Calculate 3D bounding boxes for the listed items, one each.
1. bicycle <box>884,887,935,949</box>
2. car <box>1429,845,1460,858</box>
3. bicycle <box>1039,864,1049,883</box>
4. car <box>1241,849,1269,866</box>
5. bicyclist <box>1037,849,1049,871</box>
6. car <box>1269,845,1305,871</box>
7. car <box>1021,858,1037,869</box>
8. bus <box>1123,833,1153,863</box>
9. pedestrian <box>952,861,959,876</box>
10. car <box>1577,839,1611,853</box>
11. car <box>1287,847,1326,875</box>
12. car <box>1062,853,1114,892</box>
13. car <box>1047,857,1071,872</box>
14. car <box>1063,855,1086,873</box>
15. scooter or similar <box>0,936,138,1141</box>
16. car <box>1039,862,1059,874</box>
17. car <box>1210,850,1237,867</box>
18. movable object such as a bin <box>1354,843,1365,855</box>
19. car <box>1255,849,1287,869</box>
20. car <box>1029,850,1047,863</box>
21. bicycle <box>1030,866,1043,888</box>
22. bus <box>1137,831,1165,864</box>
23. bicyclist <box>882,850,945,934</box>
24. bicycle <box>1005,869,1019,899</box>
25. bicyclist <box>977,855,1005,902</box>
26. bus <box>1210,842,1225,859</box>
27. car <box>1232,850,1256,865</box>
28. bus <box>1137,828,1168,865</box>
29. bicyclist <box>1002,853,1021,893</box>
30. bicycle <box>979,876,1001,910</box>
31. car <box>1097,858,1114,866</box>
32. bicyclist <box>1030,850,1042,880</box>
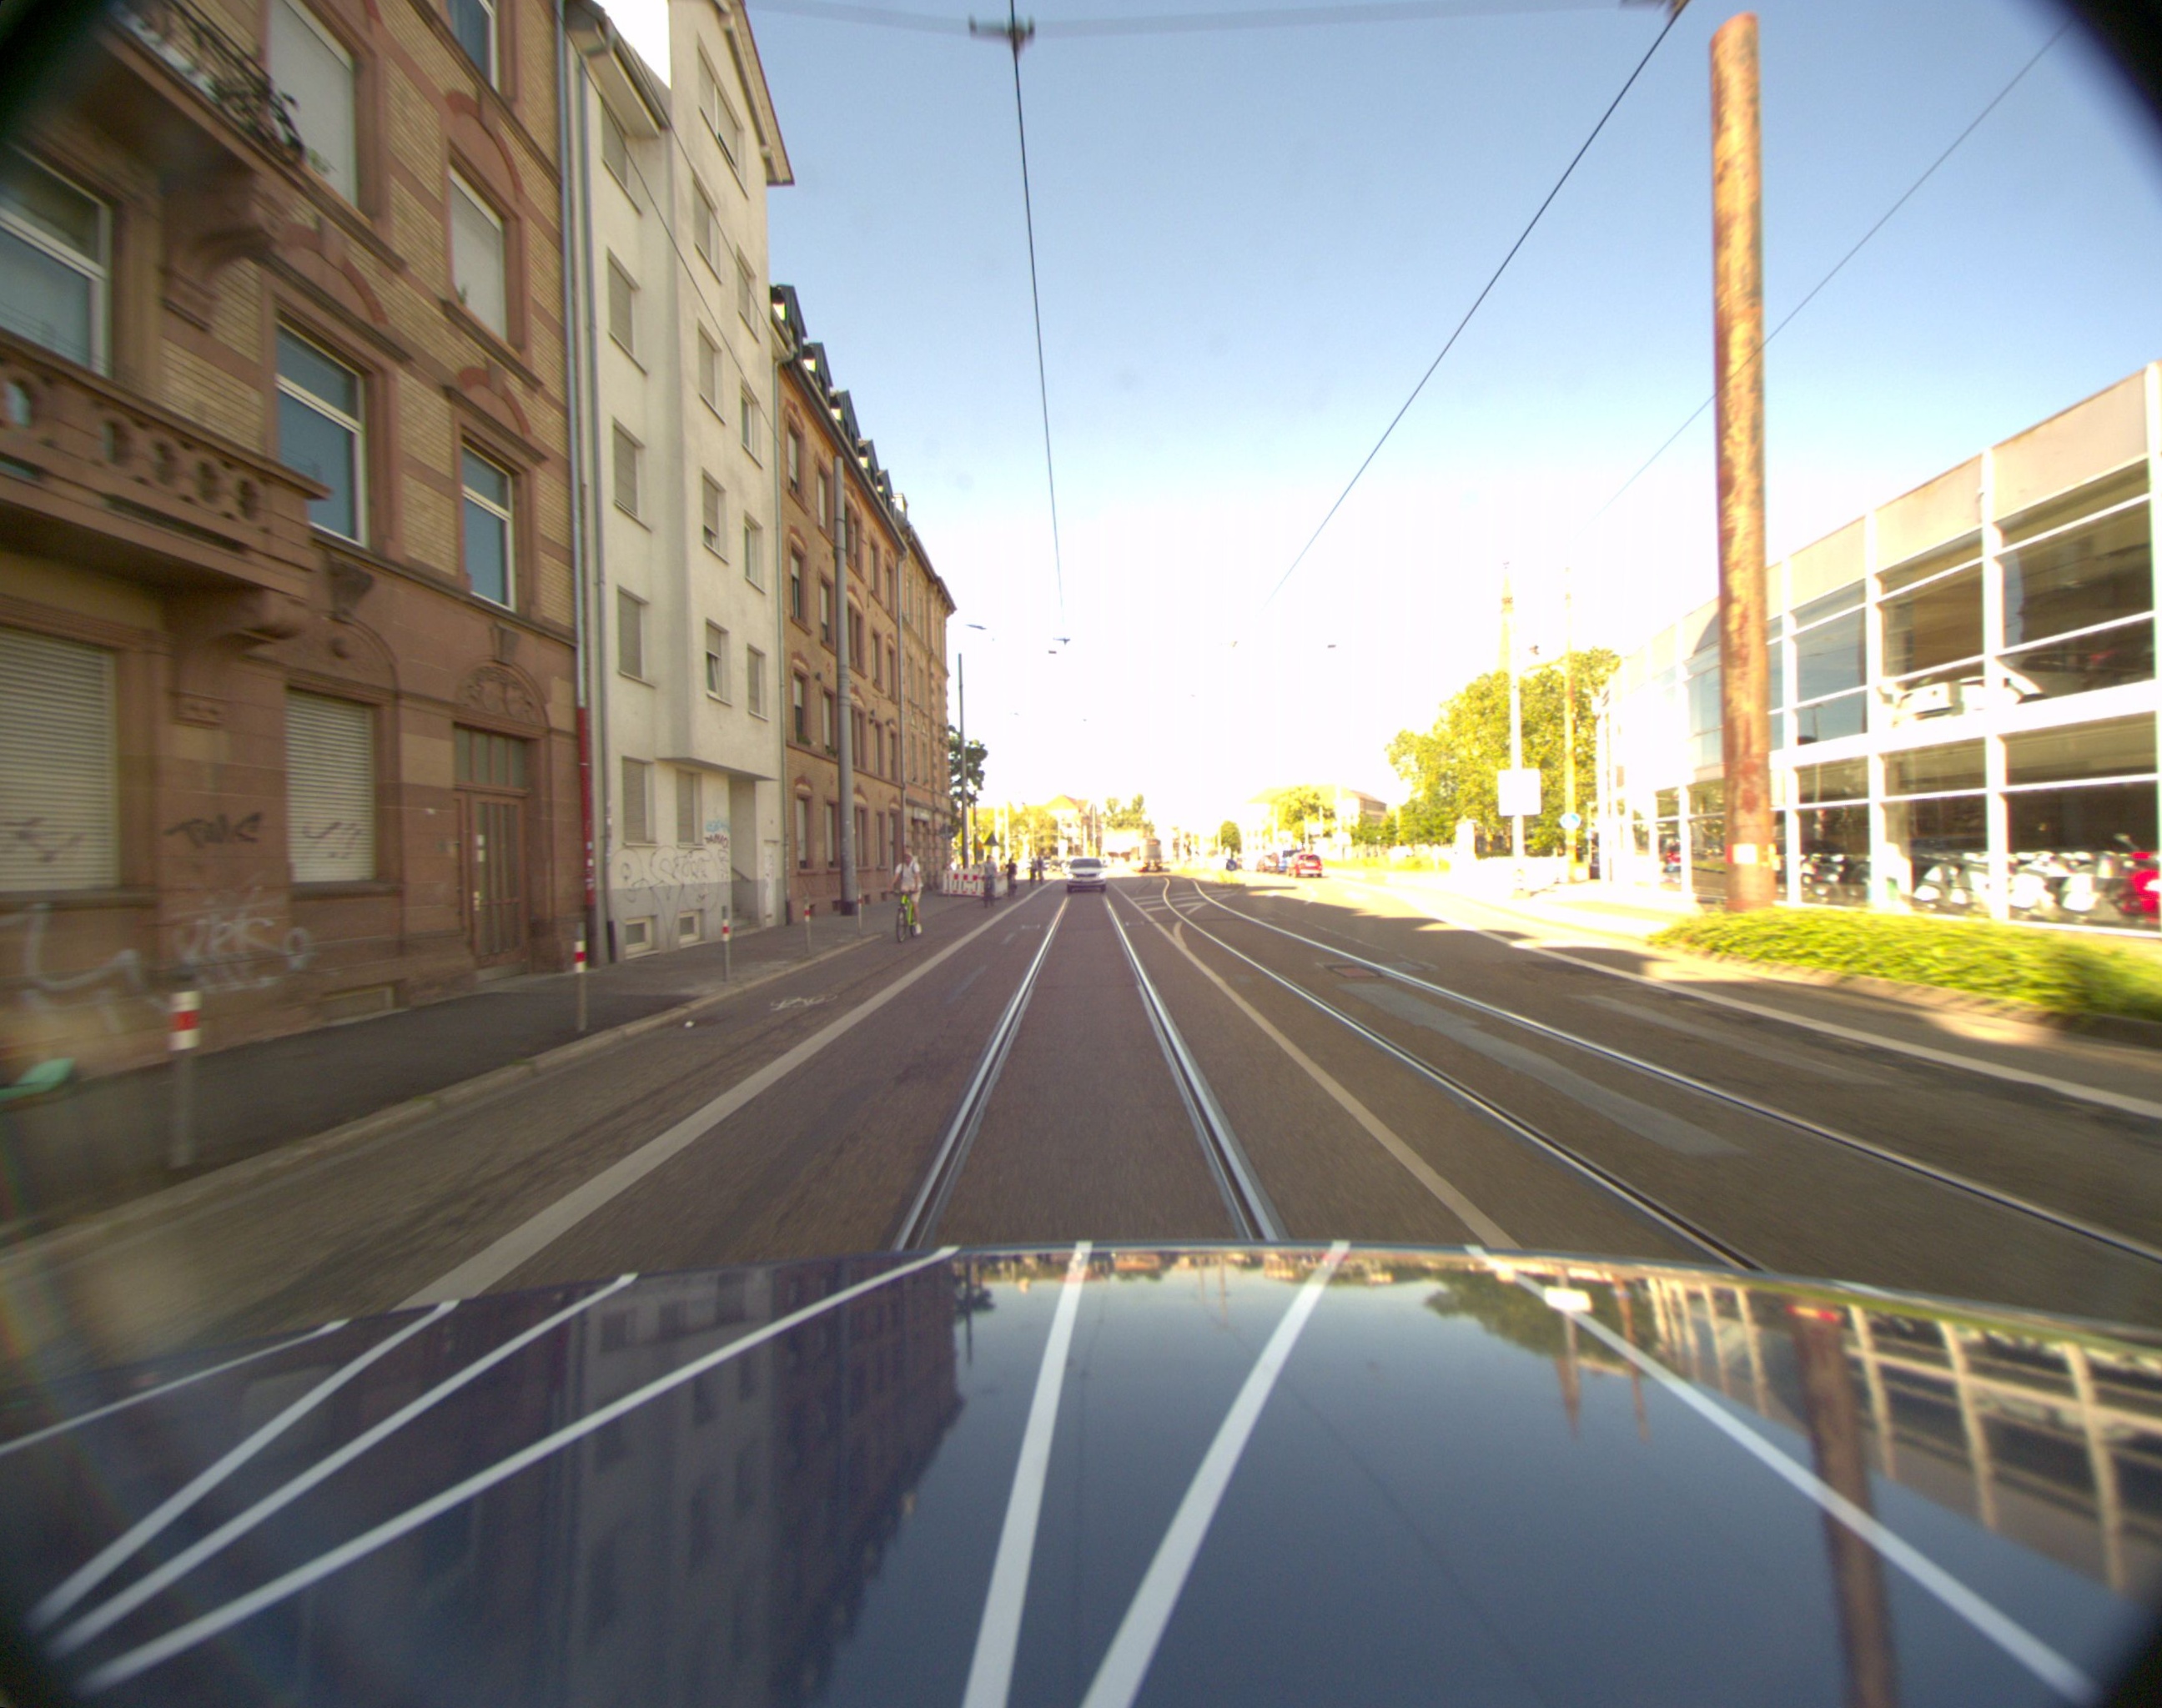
[{"bbox_3d":[-3.601,1.314,16.076,0.533,1.111,1.934,-4,0,1],"label":"bicycle"},{"bbox_3d":[55.780,-0.398,116.584,3.992,1.742,2.002,-3,1,19],"label":"car"},{"bbox_3d":[-2.410,1.235,49.252,0.533,1.152,1.865,-2,1,-1],"label":"bicycle"},{"bbox_3d":[16.569,0.305,72.520,1.807,1.424,4.000,-3,1,2],"label":"car"},{"bbox_3d":[-2.471,0.372,49.262,0.675,1.413,1.036,-3,1,-1],"label":"bicyclist"},{"bbox_3d":[15.849,0.252,58.696,1.807,1.922,4.165,-1,1,3],"label":"car"},{"bbox_3d":[-8.362,1.536,122.276,1.888,1.557,4.008,-4,1,-13],"label":"car"},{"bbox_3d":[7.480,-0.735,101.616,2.848,3.568,13.494,-2,0,0],"label":"bus"},{"bbox_3d":[-15.708,1.837,95.189,0.661,1.747,0.823,-3,1,-3],"label":"pedestrian"},{"bbox_3d":[58.261,-0.888,86.285,4.007,1.490,1.995,-2,0,-37],"label":"car"},{"bbox_3d":[15.234,0.435,51.533,1.803,1.709,4.418,-1,1,6],"label":"car"},{"bbox_3d":[0.414,0.830,36.482,1.867,1.635,4.399,-3,0,7],"label":"car"},{"bbox_3d":[-2.645,1.255,92.268,1.888,1.557,4.007,-4,1,-16],"label":"car"},{"bbox_3d":[-0.681,0.984,77.407,1.887,1.620,4.010,-3,1,-7],"label":"car"},{"bbox_3d":[-6.957,1.192,4.675,0.407,1.204,1.480,0,1,1],"label":"scooter or similar"},{"bbox_3d":[-4.547,2.012,107.994,1.888,1.557,4.007,-4,1,-16],"label":"car"},{"bbox_3d":[13.673,0.427,73.287,1.807,1.424,4.540,-3,1,2],"label":"car"},{"bbox_3d":[38.425,-0.661,104.846,0.993,1.625,0.935,-4,1,-33],"label":"movable object such as a bin"},{"bbox_3d":[16.274,0.412,65.402,1.807,1.569,4.165,-1,1,1],"label":"car"},{"bbox_3d":[-9.962,0.601,175.185,2.246,2.665,5.296,-4,1,-23],"label":"car"},{"bbox_3d":[-2.452,1.254,41.679,0.533,1.111,1.934,-3,0,0],"label":"bicycle"},{"bbox_3d":[8.324,-0.760,91.294,2.847,3.568,10.728,-2,0,4],"label":"bus"},{"bbox_3d":[-3.540,0.783,16.140,0.681,1.674,1.121,-3,1,22],"label":"bicyclist"},{"bbox_3d":[-2.878,1.238,31.818,0.533,1.111,1.932,-2,1,-5],"label":"bicycle"},{"bbox_3d":[-3.141,0.845,26.557,0.784,1.584,0.886,-2,0,2],"label":"bicyclist"},{"bbox_3d":[30.236,-0.781,168.066,2.846,3.104,11.825,-3,2,12],"label":"bus"},{"bbox_3d":[16.615,0.313,77.600,1.653,1.470,3.971,0,0,1],"label":"car"},{"bbox_3d":[7.496,-0.743,80.226,2.847,3.568,11.274,-2,0,5],"label":"bus"},{"bbox_3d":[-2.907,0.789,31.854,0.625,1.604,0.980,-3,1,-2],"label":"bicyclist"},{"bbox_3d":[-3.170,1.339,26.575,0.387,1.063,1.934,-2,0,3],"label":"bicycle"},{"bbox_3d":[4.517,1.465,140.832,1.915,1.449,4.593,-2,1,-16],"label":"car"},{"bbox_3d":[-2.485,0.576,42.005,0.551,1.604,0.953,-3,1,0],"label":"bicyclist"}]
